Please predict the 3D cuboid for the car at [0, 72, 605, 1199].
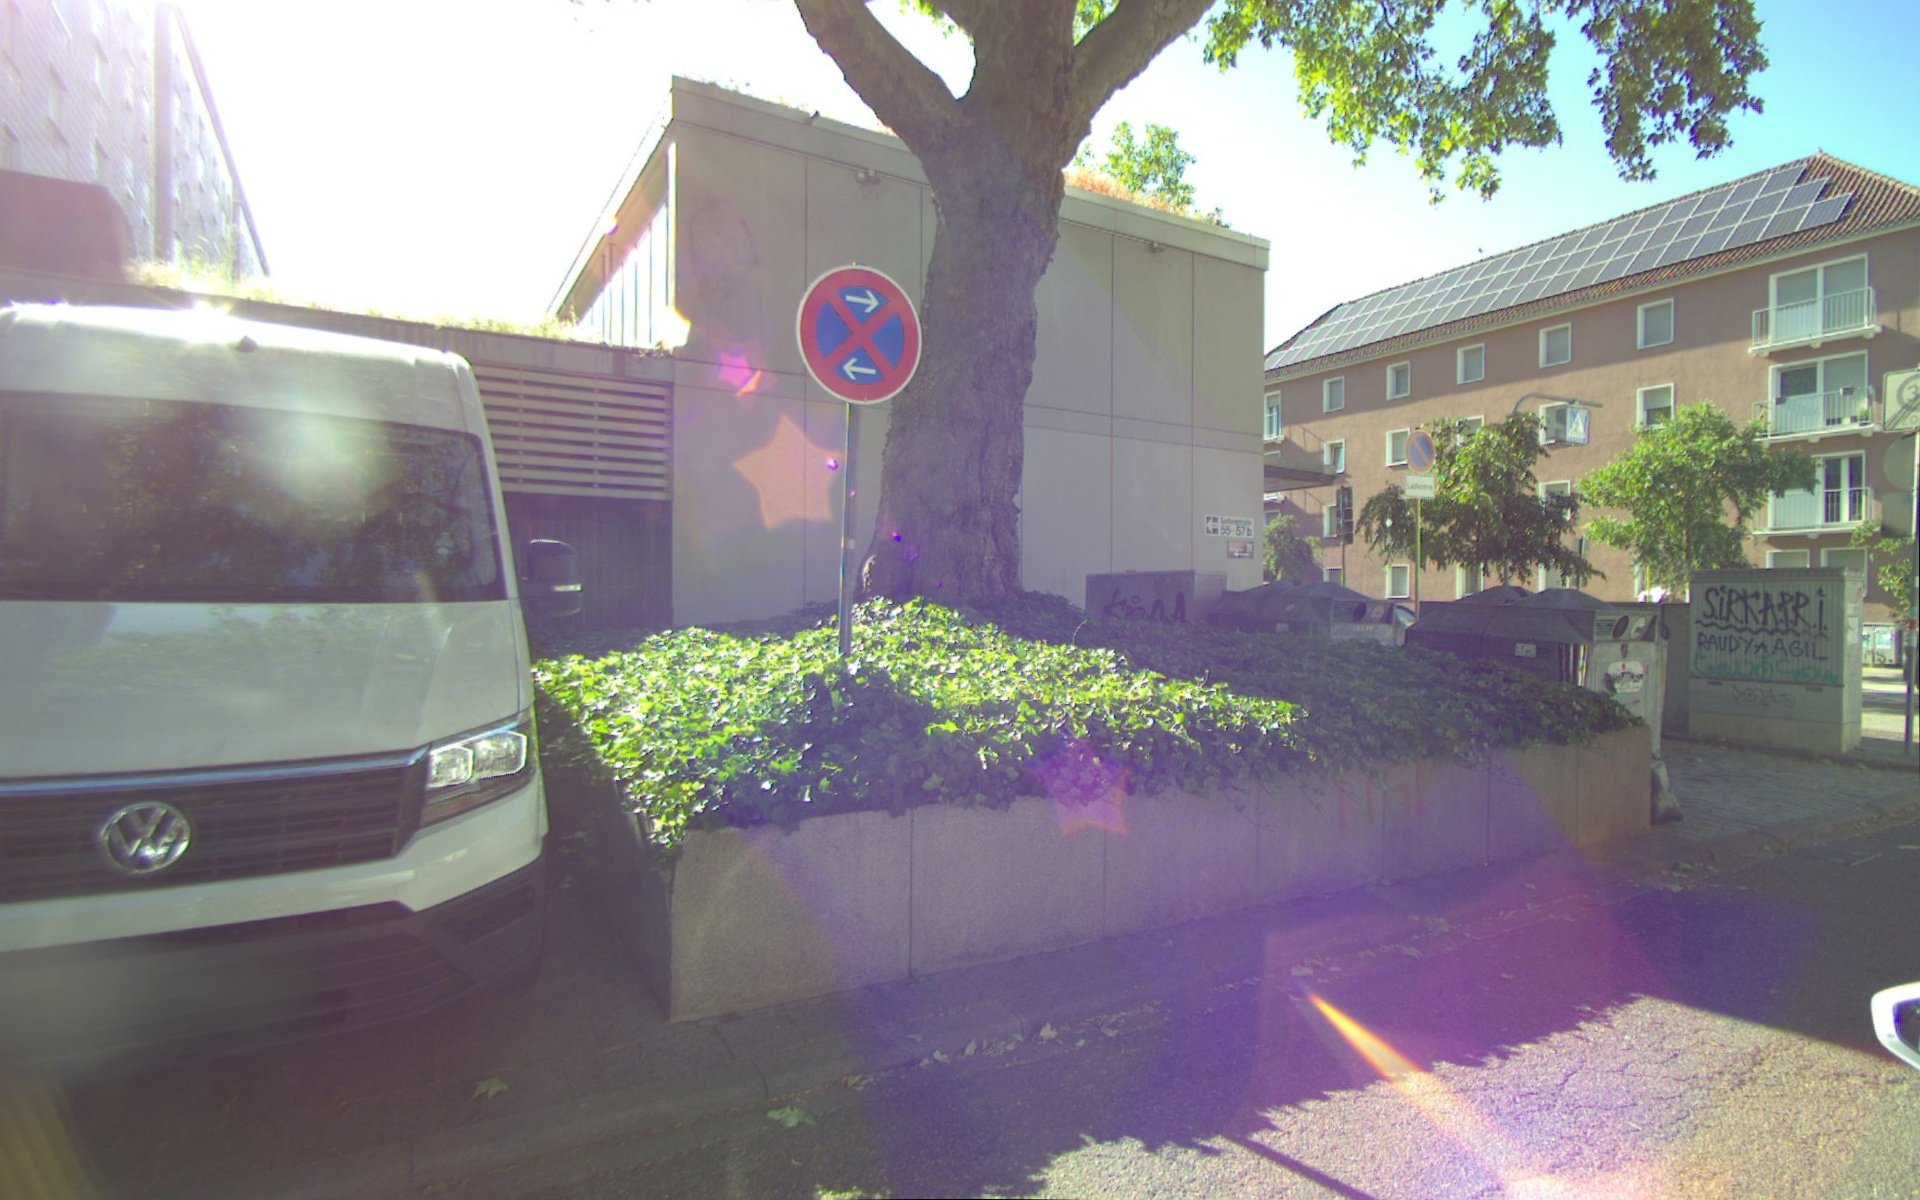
[{"bbox_3d":[-3.535,0.002,5.265,2.119,2.589,6.710,1,2,-28],"label":"car"}]
